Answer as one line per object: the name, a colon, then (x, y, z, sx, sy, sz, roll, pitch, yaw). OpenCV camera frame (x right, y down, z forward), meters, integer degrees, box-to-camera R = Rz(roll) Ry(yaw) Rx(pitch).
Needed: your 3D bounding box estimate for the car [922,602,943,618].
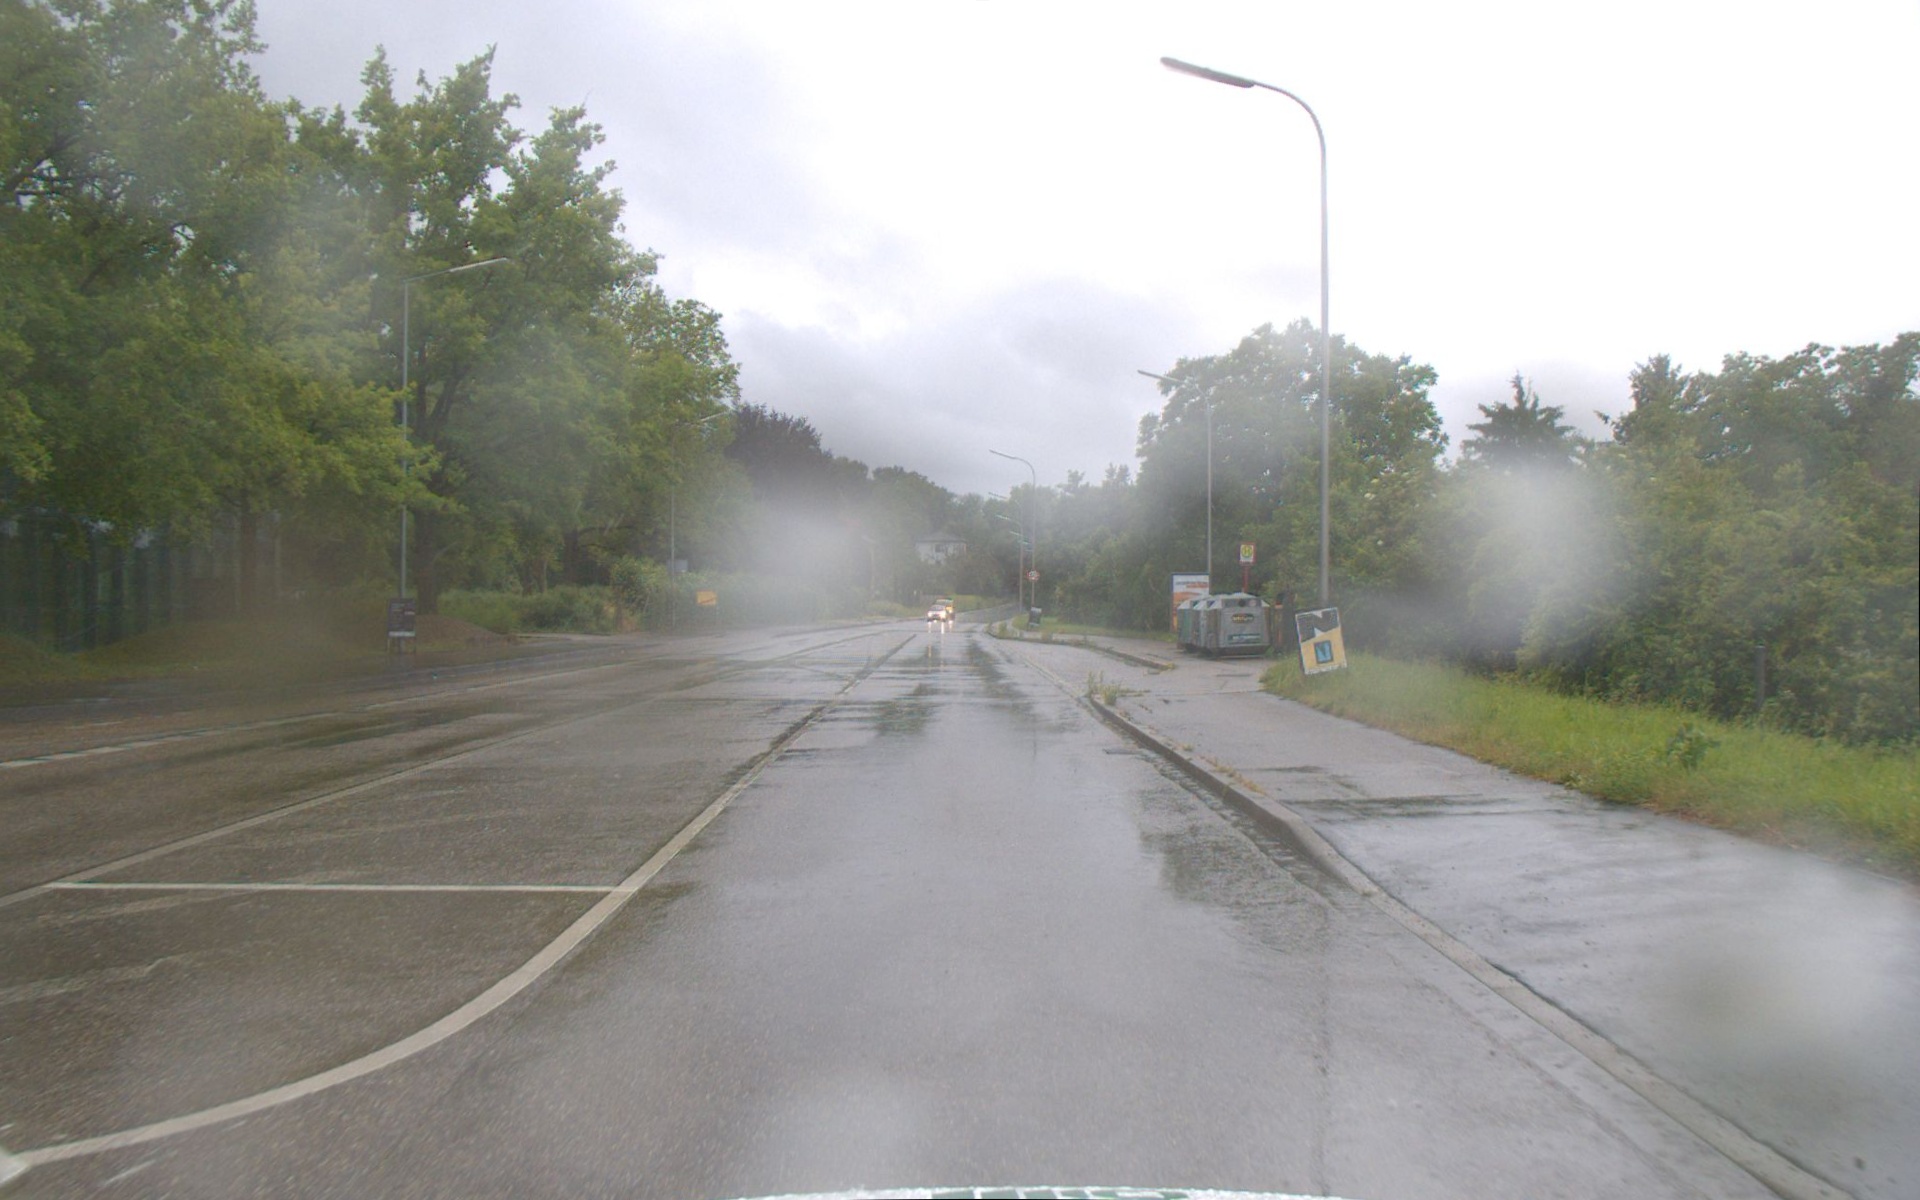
car: (-2.356, 0.840, 142.678, 1.666, 1.373, 3.906, 0, 0, 1)
